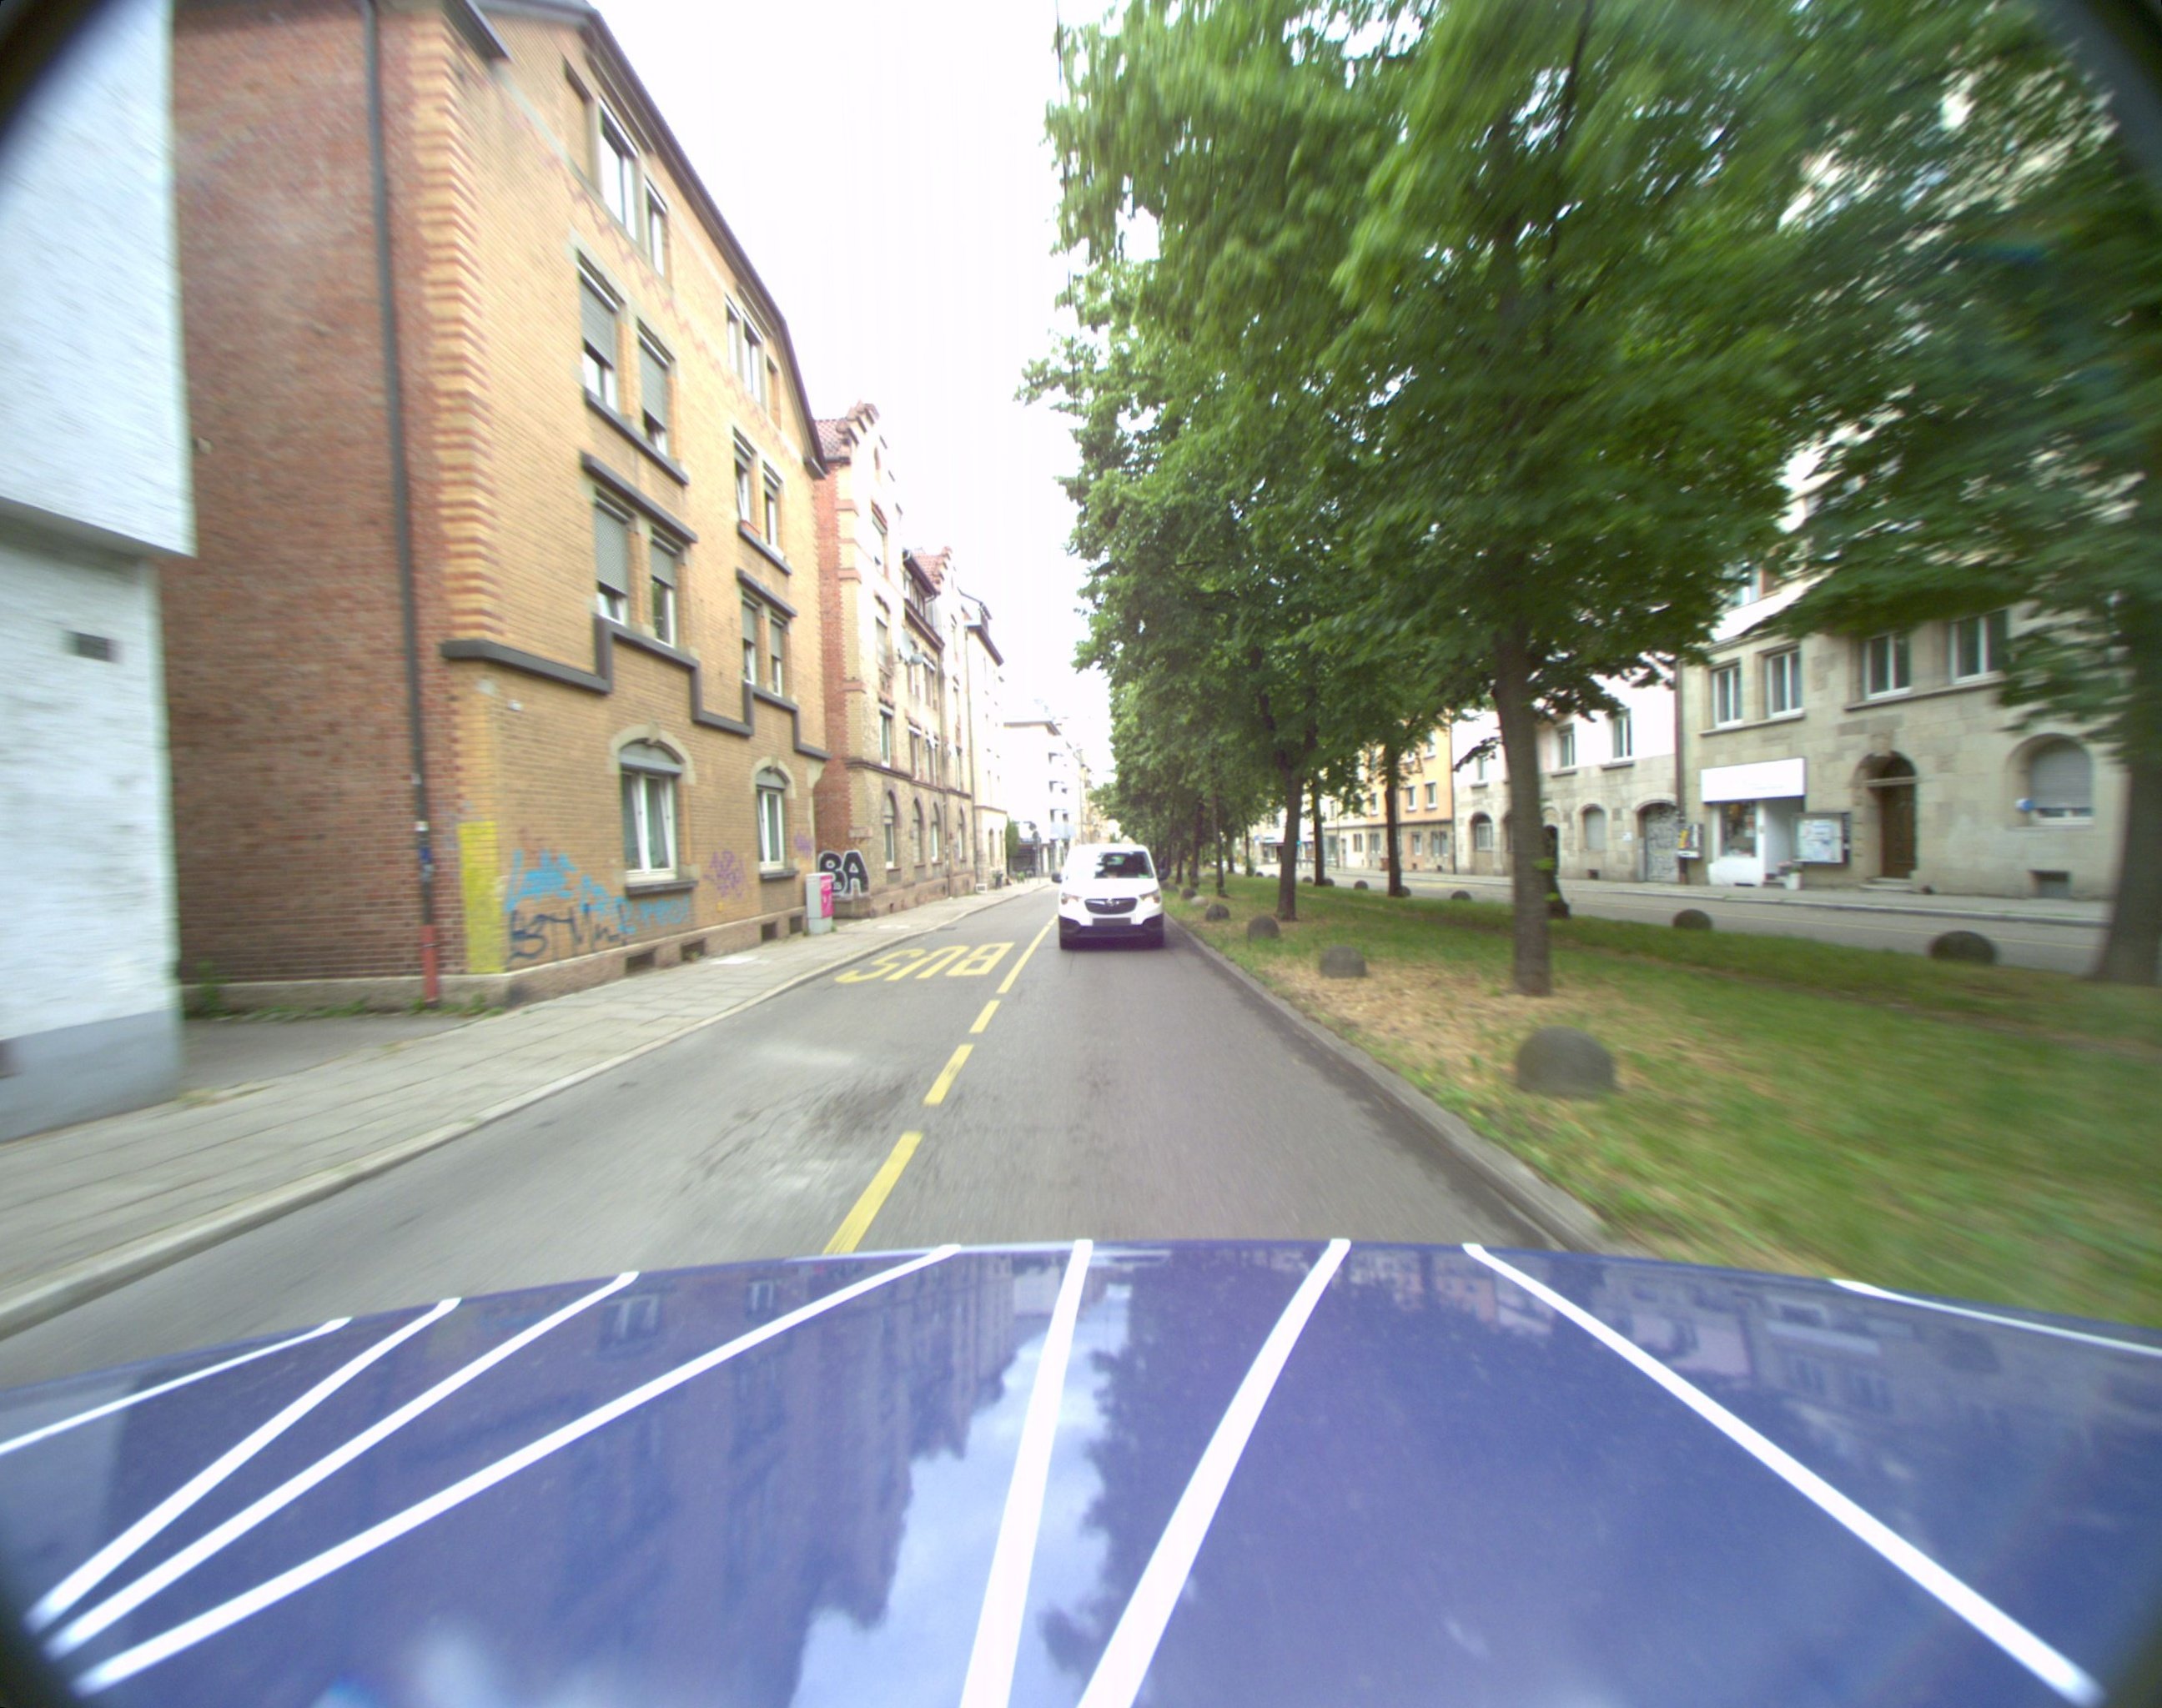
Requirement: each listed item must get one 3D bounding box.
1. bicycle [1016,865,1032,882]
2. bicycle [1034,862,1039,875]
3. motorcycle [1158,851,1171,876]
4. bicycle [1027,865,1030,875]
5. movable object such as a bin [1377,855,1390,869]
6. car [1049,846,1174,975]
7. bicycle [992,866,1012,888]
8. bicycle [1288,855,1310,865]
[{"bbox_3d":[-4.058,1.386,54.700,0.683,1.142,2.942,-2,-2,4],"label":"bicycle"},{"bbox_3d":[-4.398,1.430,74.886,0.400,1.197,1.285,-4,0,-4],"label":"bicycle"},{"bbox_3d":[5.741,0.687,52.430,0.825,1.520,2.626,0,-4,5],"label":"motorcycle"},{"bbox_3d":[-5.164,1.576,74.815,0.184,0.902,1.236,-3,0,-4],"label":"bicycle"},{"bbox_3d":[20.016,0.523,50.270,0.513,0.921,0.779,-3,0,4],"label":"movable object such as a bin"},{"bbox_3d":[0.614,0.815,13.250,1.745,1.830,4.344,-2,0,5],"label":"car"},{"bbox_3d":[-4.507,1.329,43.755,0.683,1.143,2.484,-2,0,4],"label":"bicycle"},{"bbox_3d":[26.066,0.687,90.848,2.345,1.094,0.775,-3,0,23],"label":"bicycle"}]
